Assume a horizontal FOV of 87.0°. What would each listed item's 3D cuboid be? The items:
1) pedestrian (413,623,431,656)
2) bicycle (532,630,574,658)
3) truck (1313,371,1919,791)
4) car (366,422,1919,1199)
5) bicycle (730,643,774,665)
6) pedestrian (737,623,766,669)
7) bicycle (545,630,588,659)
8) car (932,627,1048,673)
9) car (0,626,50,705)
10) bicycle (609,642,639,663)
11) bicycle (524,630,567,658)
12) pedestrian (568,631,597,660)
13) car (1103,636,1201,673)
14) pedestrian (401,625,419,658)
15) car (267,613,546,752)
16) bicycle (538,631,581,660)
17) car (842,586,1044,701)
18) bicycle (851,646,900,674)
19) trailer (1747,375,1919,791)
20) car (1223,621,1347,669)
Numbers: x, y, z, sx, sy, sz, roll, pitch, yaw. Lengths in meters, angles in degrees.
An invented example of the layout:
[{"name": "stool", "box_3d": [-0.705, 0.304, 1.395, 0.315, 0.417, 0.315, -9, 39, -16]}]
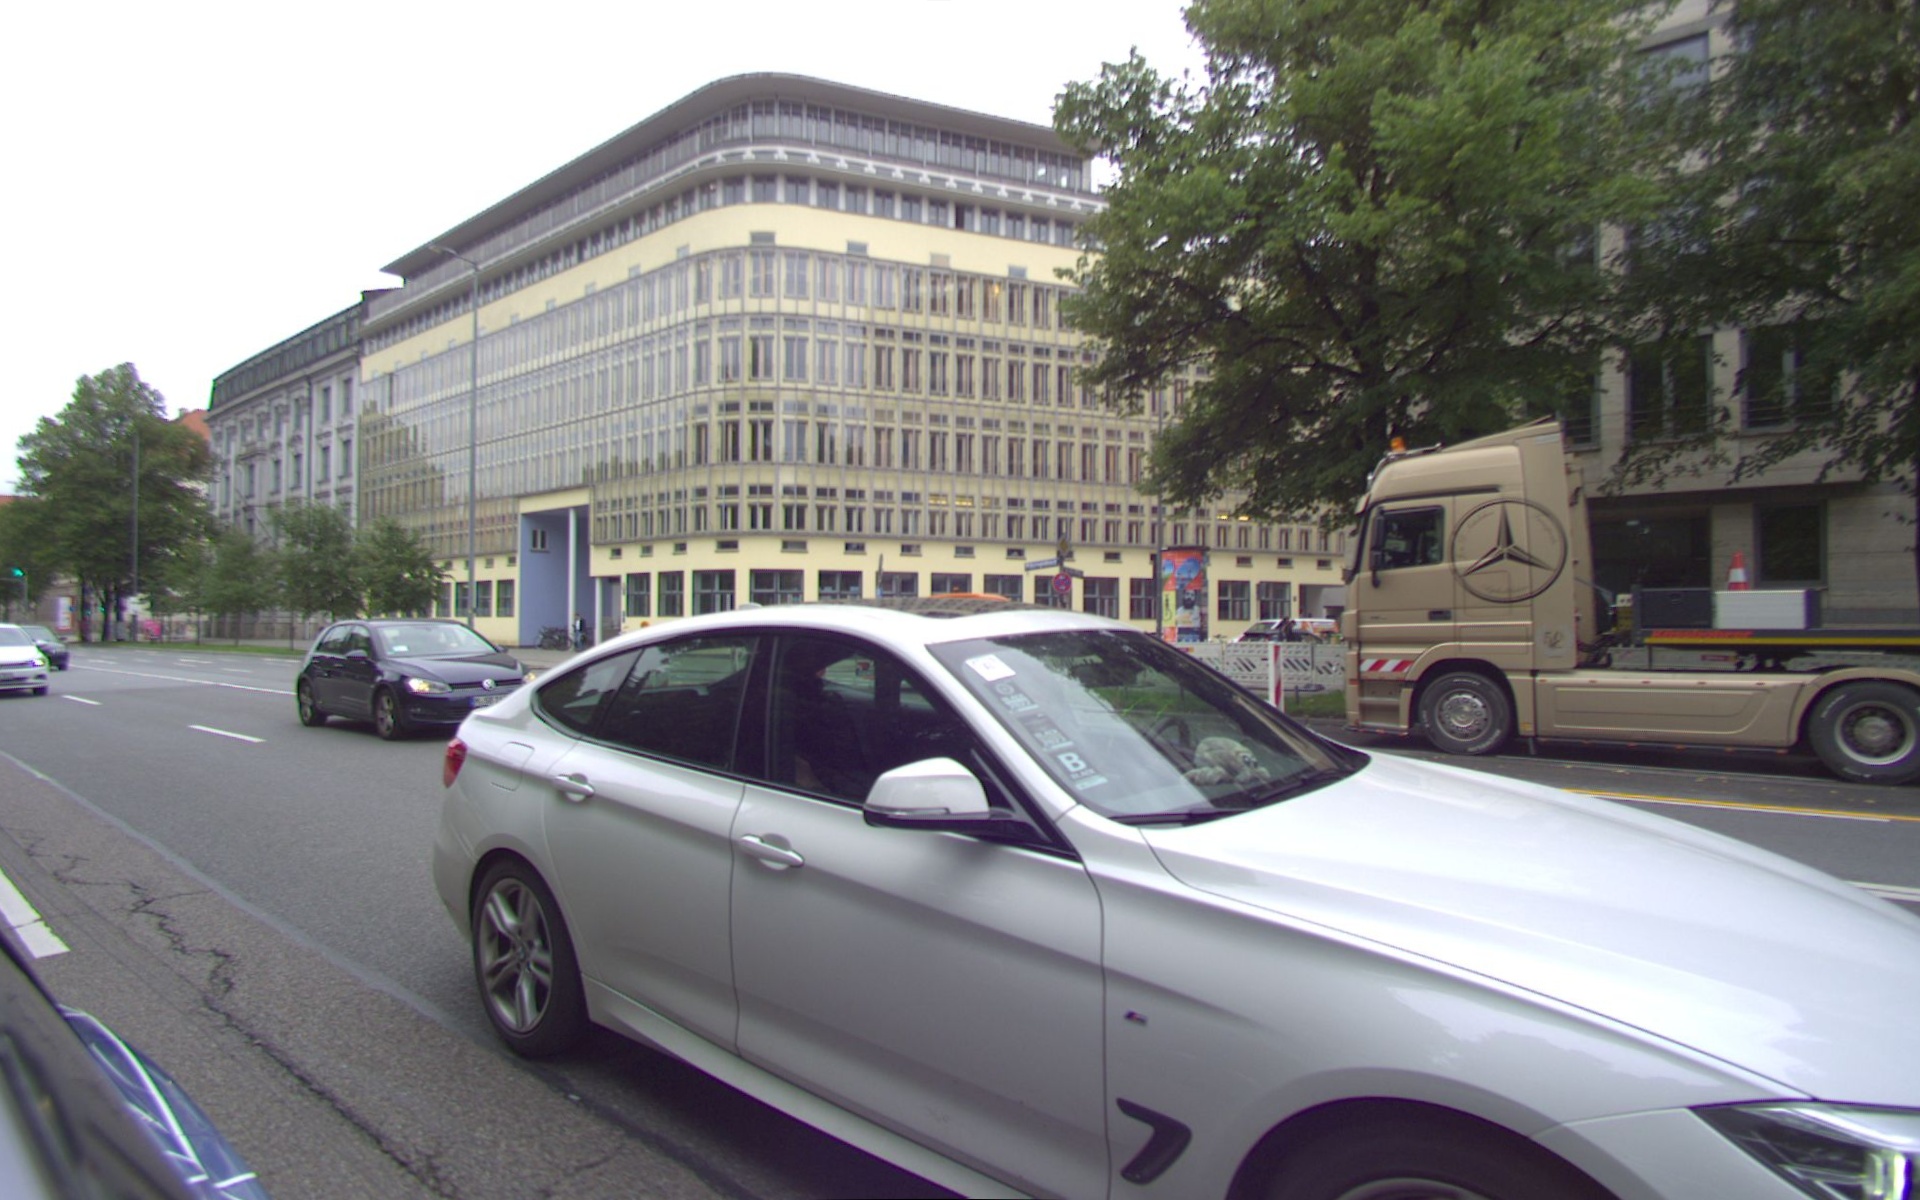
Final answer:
[{"name": "pedestrian", "box_3d": [-29.581, 2.188, 55.641, 0.835, 1.790, 0.609, -2, -1, 40]}, {"name": "bicycle", "box_3d": [-20.348, 2.204, 50.618, 0.573, 1.328, 1.991, -1, -1, 34]}, {"name": "truck", "box_3d": [8.277, -0.142, 11.289, 7.650, 3.803, 2.890, -1, -1, 36]}, {"name": "car", "box_3d": [0.186, 0.670, 3.017, 5.022, 1.649, 1.774, -1, -2, 40]}, {"name": "bicycle", "box_3d": [-8.305, 2.156, 40.464, 1.709, 0.884, 0.587, 0, -2, -8]}, {"name": "pedestrian", "box_3d": [-8.127, 1.778, 39.433, 0.978, 1.747, 0.817, -1, -1, -19]}, {"name": "bicycle", "box_3d": [-19.368, 2.181, 49.866, 0.573, 1.328, 1.991, -1, -1, 34]}, {"name": "car", "box_3d": [1.205, 1.965, 40.554, 4.254, 1.763, 1.876, 1, -2, -21]}, {"name": "car", "box_3d": [-19.724, 1.255, 20.157, 4.271, 1.458, 1.774, -1, -2, 40]}, {"name": "bicycle", "box_3d": [-14.752, 2.292, 44.461, 1.737, 0.884, 0.471, -2, -3, 43]}, {"name": "bicycle", "box_3d": [-20.879, 2.205, 50.989, 0.637, 1.328, 1.991, -1, -1, 34]}, {"name": "pedestrian", "box_3d": [-17.781, 2.143, 47.675, 1.085, 1.375, 0.829, -2, -3, 40]}, {"name": "car", "box_3d": [8.176, 2.281, 43.161, 3.896, 1.509, 1.494, 1, -2, -22]}, {"name": "pedestrian", "box_3d": [-29.986, 2.268, 55.166, 0.835, 1.790, 0.609, -2, -1, 40]}, {"name": "car", "box_3d": [-7.306, 0.972, 13.179, 4.334, 1.528, 1.674, -1, -2, 39]}, {"name": "bicycle", "box_3d": [-19.856, 2.238, 50.214, 0.573, 1.328, 1.991, -1, -1, 34]}, {"name": "car", "box_3d": [-0.265, 1.058, 25.493, 2.152, 2.556, 5.629, -1, -2, 36]}, {"name": "bicycle", "box_3d": [-3.232, 2.263, 38.492, 1.816, 1.029, 0.587, 0, -2, -8]}, {"name": "trailer", "box_3d": [13.423, -0.248, 7.519, 11.747, 3.768, 2.923, -1, -1, 36]}, {"name": "car", "box_3d": [13.766, 1.887, 42.836, 4.984, 1.924, 1.758, 1, -2, -22]}]
